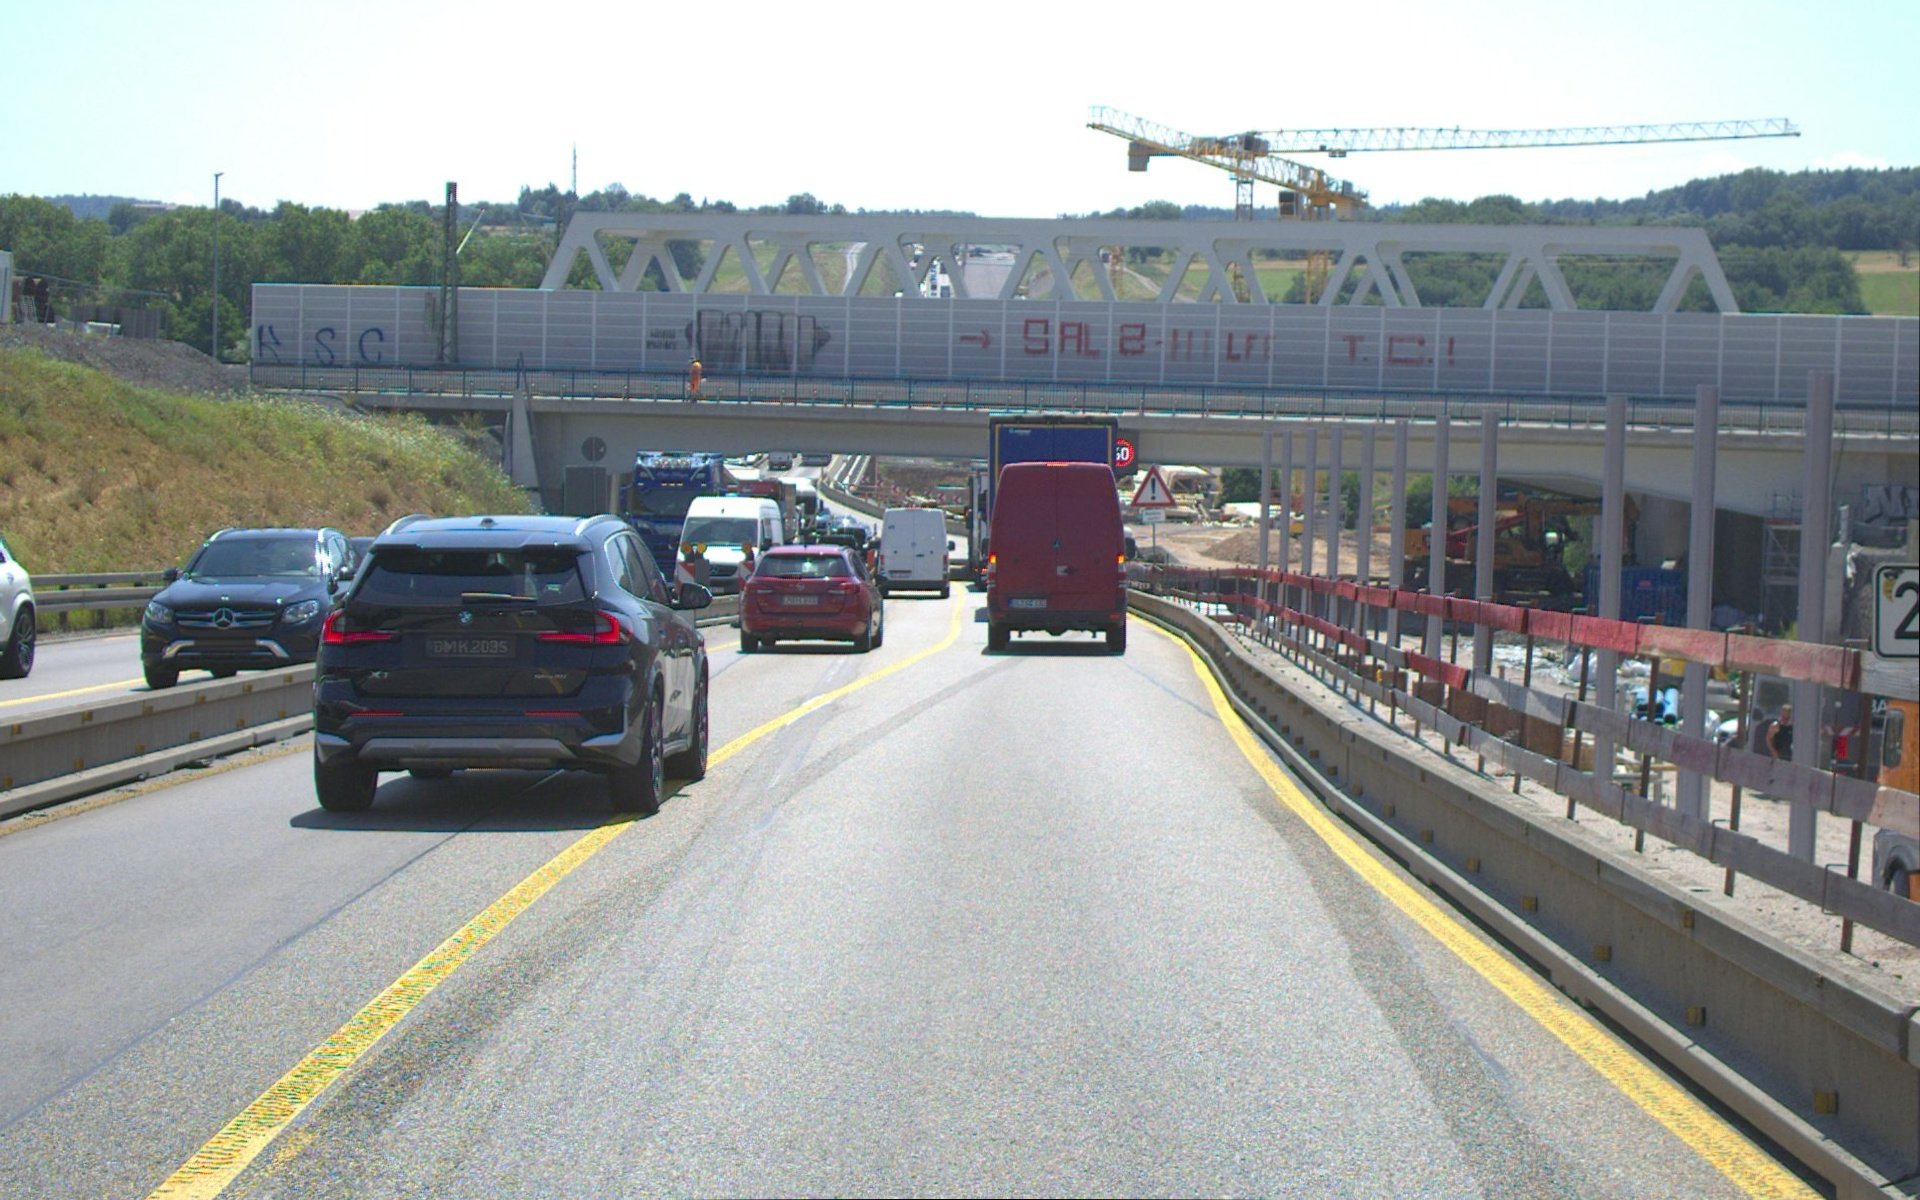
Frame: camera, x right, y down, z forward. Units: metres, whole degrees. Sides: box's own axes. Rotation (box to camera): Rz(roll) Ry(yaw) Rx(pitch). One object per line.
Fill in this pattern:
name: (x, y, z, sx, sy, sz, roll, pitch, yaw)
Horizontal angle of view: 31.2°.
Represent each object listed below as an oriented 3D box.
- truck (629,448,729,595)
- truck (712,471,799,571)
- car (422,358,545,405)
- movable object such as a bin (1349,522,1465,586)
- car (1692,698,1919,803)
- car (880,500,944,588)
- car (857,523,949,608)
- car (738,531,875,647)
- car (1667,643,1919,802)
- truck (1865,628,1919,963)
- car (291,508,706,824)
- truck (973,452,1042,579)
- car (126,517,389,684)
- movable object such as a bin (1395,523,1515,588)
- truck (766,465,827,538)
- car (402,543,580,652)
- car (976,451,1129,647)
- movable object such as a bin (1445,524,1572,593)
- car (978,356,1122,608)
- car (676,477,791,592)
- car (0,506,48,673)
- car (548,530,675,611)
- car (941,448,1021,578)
truck: (-7.858, -2.210, 96.438, 2.358, 4.001, 4.000, 1, 1, 1)
truck: (-8.275, -3.246, 140.697, 2.834, 3.839, 12.913, 1, 1, -1)
car: (-19.458, -8.917, 140.370, 4.556, 1.776, 1.959, 1, 1, 13)
movable object such as a bin: (20.549, -2.131, 158.300, 5.147, 2.798, 2.142, 1, 1, 5)
car: (17.476, 3.057, 69.857, 4.728, 1.767, 2.000, 3, 3, 1)
car: (-1.369, -1.607, 97.311, 1.776, 2.432, 4.206, 0, 1, -1)
car: (-1.184, -0.735, 70.808, 1.839, 1.648, 4.165, 0, 2, -1)
car: (-2.109, -0.186, 48.085, 1.776, 1.512, 4.206, 0, 2, -1)
car: (16.427, 2.269, 63.231, 6.086, 2.576, 2.531, 2, 3, -10)
truck: (12.754, 2.386, 40.247, 2.758, 3.873, 5.882, 1, 1, 1)
car: (-2.524, 0.281, 19.818, 1.879, 1.612, 4.499, 0, 2, -1)
truck: (2.190, -3.758, 152.964, 2.835, 5.380, 12.912, 1, 1, 1)
car: (-7.304, -0.049, 36.189, 1.791, 1.606, 4.733, 1, 1, 0)
movable object such as a bin: (22.036, -1.994, 153.179, 5.147, 2.798, 2.142, 1, 1, 5)
truck: (-8.953, -5.429, 189.502, 2.834, 3.839, 12.913, 1, 1, -1)
car: (-6.921, -0.071, 51.190, 1.961, 1.459, 4.941, 1, 1, 0)
car: (1.282, -0.758, 49.392, 1.988, 2.681, 4.624, 0, 1, -1)
movable object such as a bin: (23.319, -1.778, 146.259, 5.147, 2.798, 2.142, 1, 1, 5)
car: (1.817, -2.491, 73.650, 2.621, 5.015, 10.398, 0, 1, -1)
car: (-5.317, -1.577, 81.654, 1.993, 2.598, 7.010, 1, 1, 2)
car: (-10.964, -0.108, 35.897, 1.790, 1.756, 4.538, 0, 1, -2)
car: (-6.657, -0.596, 66.120, 1.800, 1.442, 4.637, 1, 1, 2)
car: (0.654, -2.869, 113.193, 2.450, 4.146, 6.861, 0, 1, -1)
